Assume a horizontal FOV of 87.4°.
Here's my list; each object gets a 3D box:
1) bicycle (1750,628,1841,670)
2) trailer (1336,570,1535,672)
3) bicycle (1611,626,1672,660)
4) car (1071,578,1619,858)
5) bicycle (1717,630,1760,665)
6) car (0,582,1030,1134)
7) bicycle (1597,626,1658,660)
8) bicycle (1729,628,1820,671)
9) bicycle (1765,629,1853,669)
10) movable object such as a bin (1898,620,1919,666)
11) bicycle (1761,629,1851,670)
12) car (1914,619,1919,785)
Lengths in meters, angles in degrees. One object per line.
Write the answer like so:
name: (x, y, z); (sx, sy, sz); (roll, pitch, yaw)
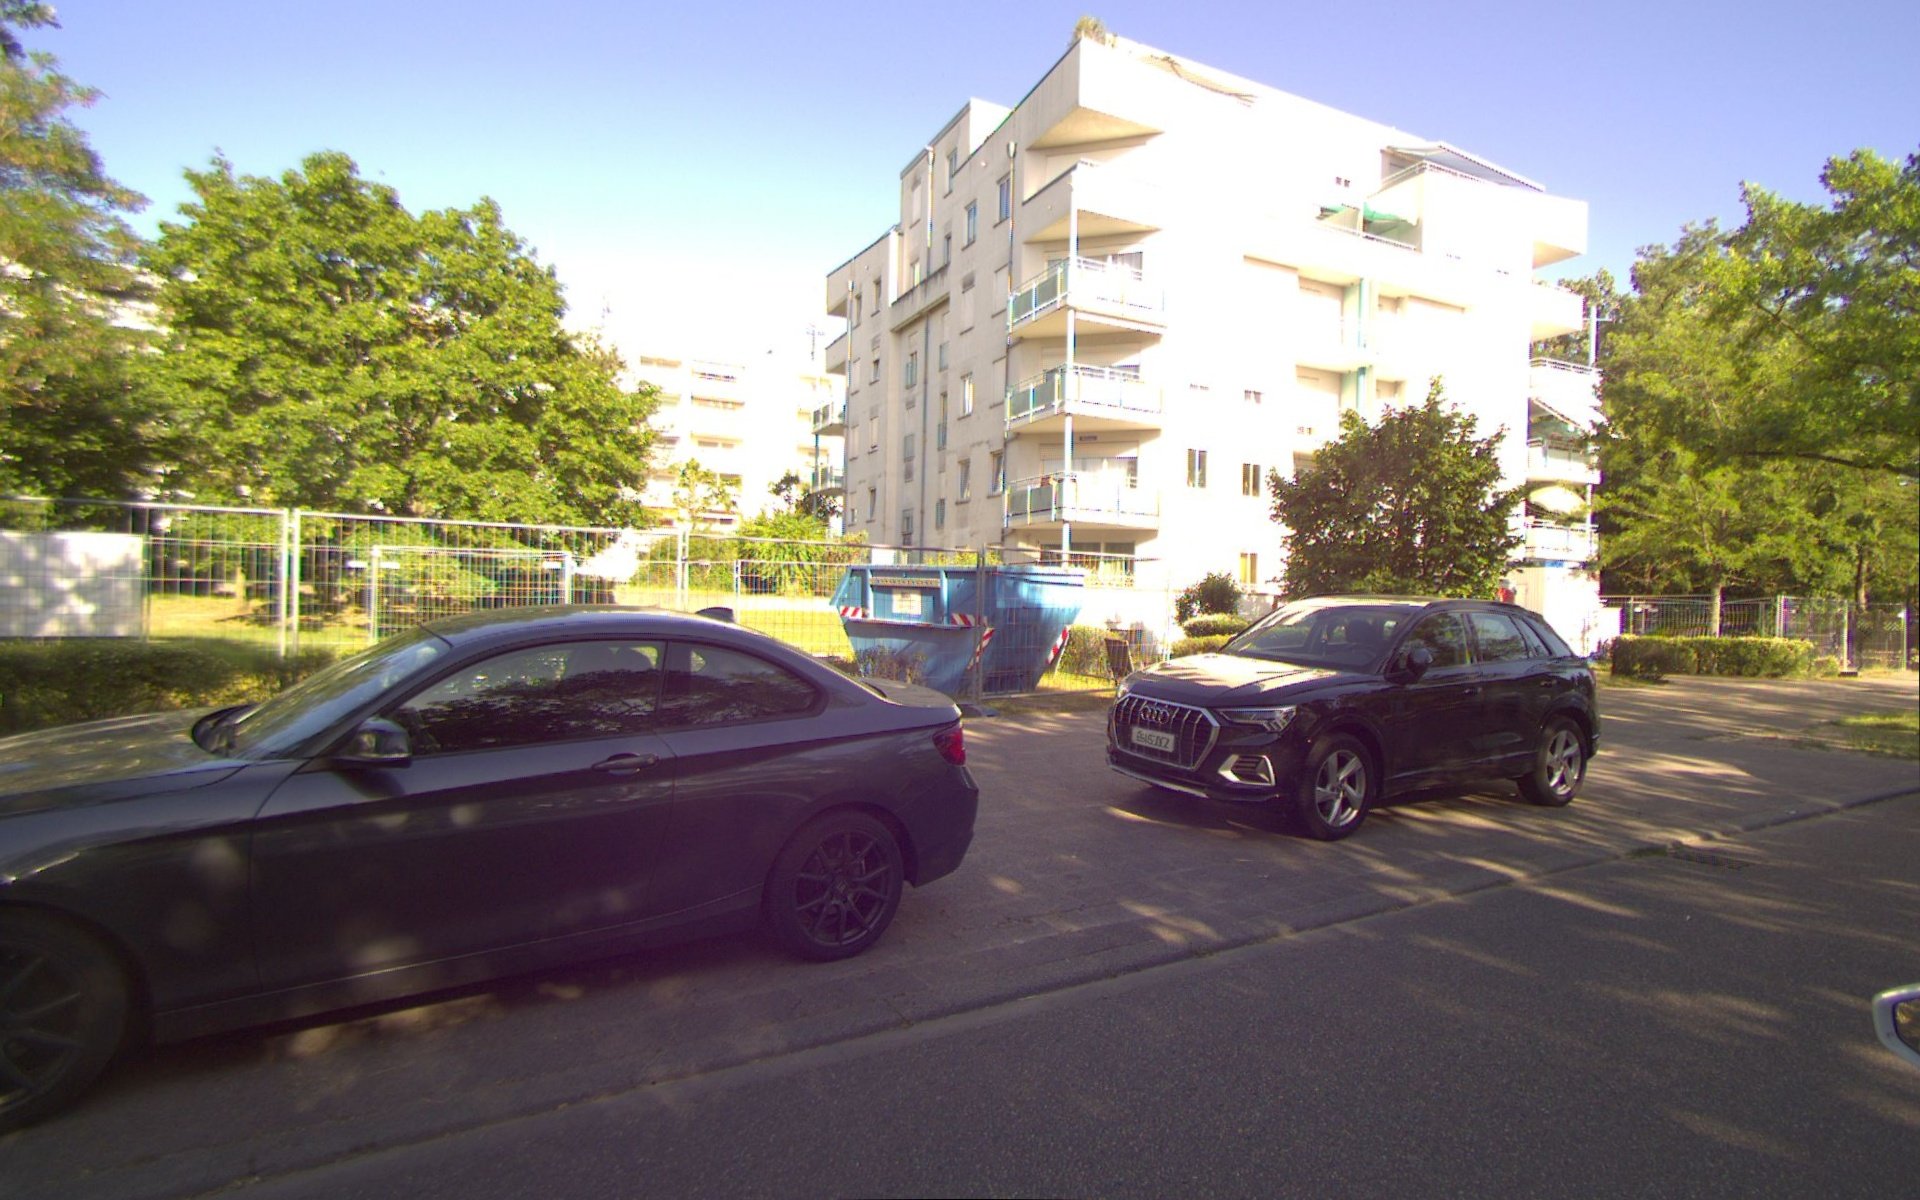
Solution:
bicycle: (22.580, 1.313, 27.175); (0.398, 1.040, 1.838); (2, -1, -43)
trailer: (10.942, 0.473, 23.091); (4.290, 2.149, 1.856); (1, 2, -27)
bicycle: (22.157, 1.399, 32.693); (0.395, 1.040, 1.690); (2, -1, -24)
car: (3.085, 0.731, 7.835); (4.172, 1.643, 1.766); (1, 2, -31)
bicycle: (23.776, 1.450, 30.664); (1.680, 1.040, 0.397); (2, -1, -29)
car: (-1.847, 0.718, 4.260); (4.095, 1.452, 1.705); (1, 2, -35)
bicycle: (21.533, 1.383, 32.440); (0.395, 1.040, 1.690); (2, -1, -24)
bicycle: (21.717, 1.308, 26.808); (0.398, 1.040, 1.851); (2, -1, -43)
bicycle: (23.657, 1.353, 28.013); (0.398, 1.040, 1.820); (2, -1, -43)
movable object such as a bin: (31.023, 1.387, 31.899); (1.300, 1.454, 1.273); (1, 0, -2)
bicycle: (23.337, 1.343, 27.732); (0.398, 1.040, 1.841); (2, -1, -43)
car: (10.069, 0.984, 8.724); (3.964, 1.617, 1.650); (1, -3, -32)
